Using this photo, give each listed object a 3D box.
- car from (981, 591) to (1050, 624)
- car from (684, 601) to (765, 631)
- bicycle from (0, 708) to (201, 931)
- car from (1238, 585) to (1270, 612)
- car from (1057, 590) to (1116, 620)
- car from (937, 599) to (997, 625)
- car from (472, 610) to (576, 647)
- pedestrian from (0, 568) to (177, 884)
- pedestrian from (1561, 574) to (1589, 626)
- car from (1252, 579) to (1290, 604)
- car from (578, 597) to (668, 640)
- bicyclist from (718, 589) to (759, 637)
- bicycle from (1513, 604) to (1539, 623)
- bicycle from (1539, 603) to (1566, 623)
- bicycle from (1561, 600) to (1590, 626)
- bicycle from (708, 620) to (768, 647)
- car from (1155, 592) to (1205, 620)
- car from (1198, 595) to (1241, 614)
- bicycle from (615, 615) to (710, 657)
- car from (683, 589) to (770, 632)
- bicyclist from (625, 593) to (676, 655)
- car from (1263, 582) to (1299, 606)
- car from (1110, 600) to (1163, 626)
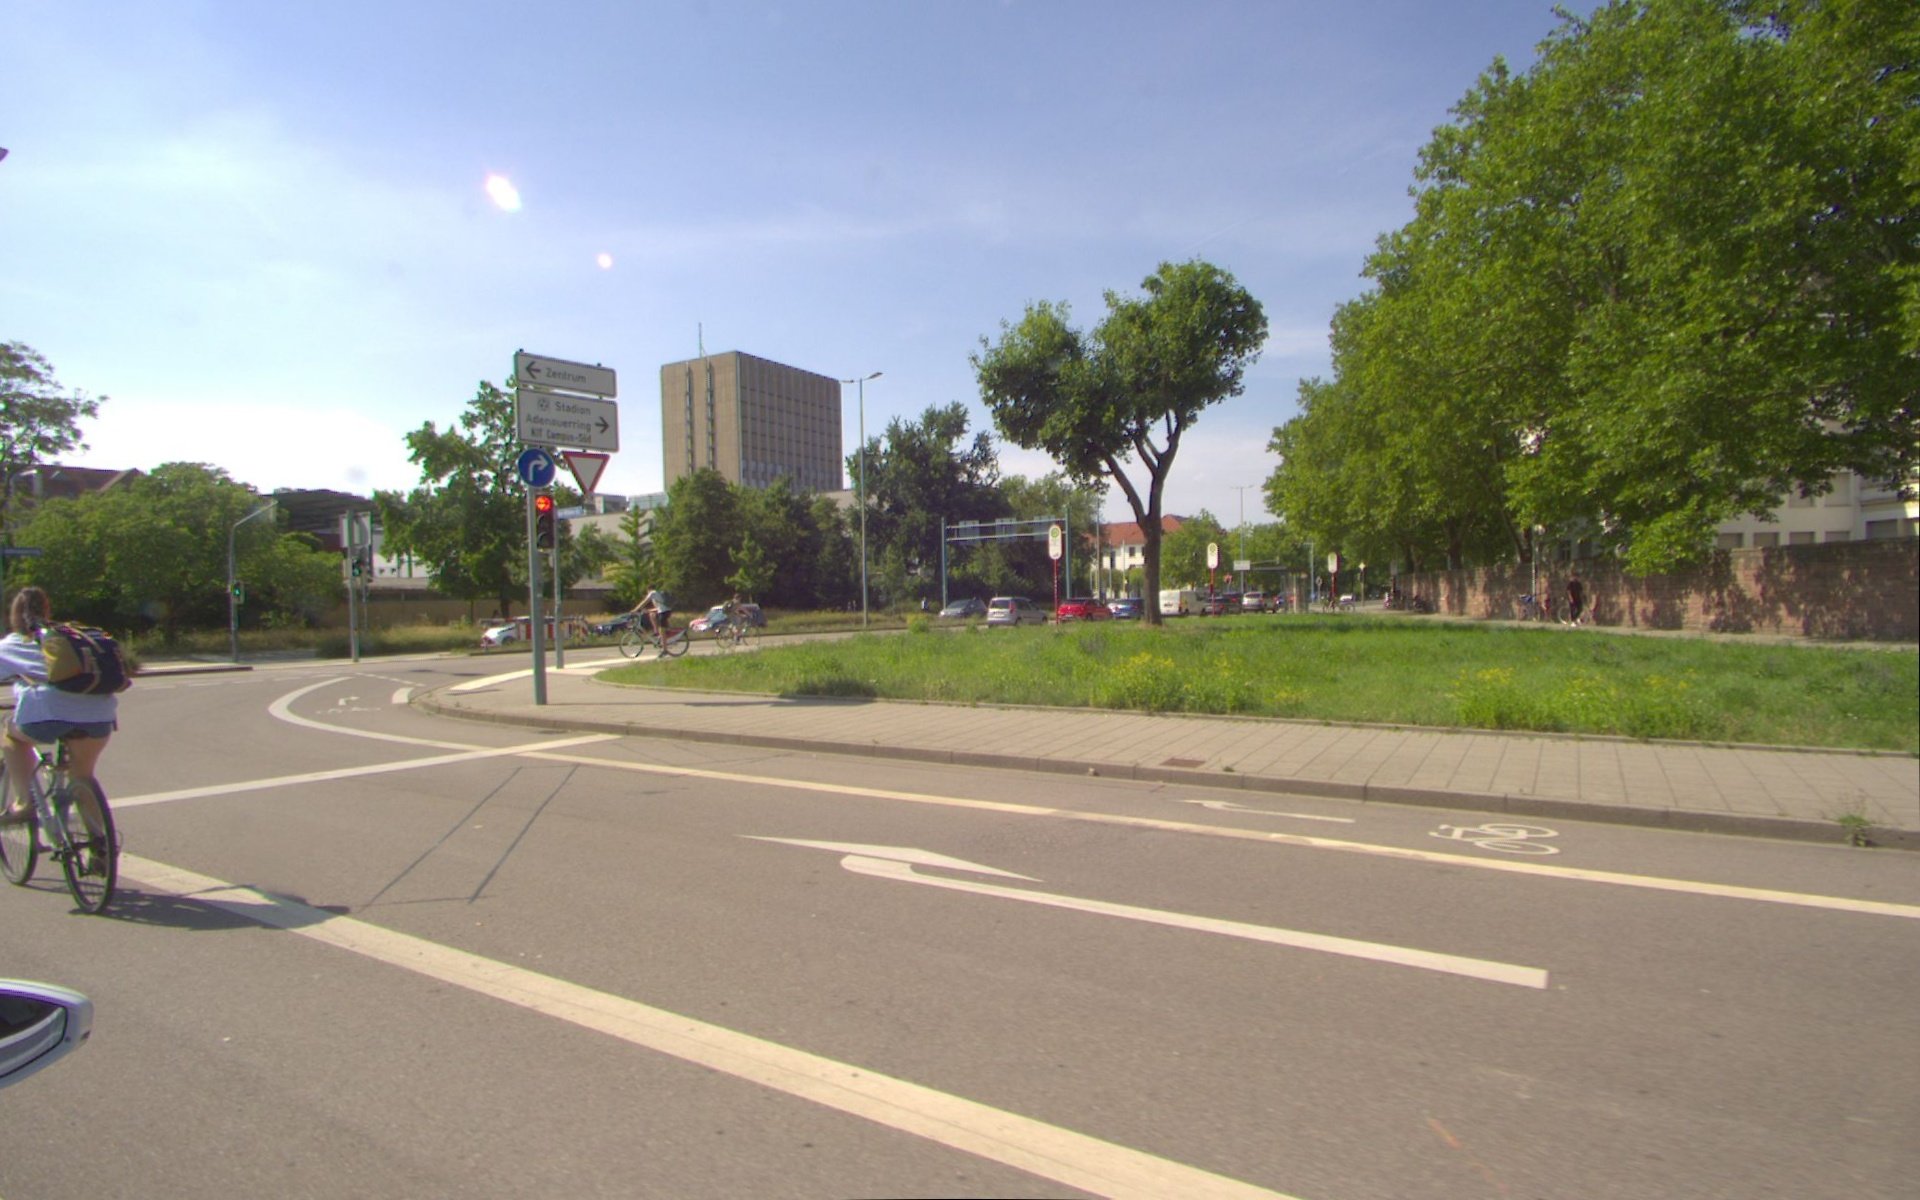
[{"bbox_3d":[2.844,0.358,50.440,1.727,1.528,3.978,0,1,32],"label":"car"},{"bbox_3d":[-13.141,0.866,56.094,1.882,1.590,4.300,0,1,32],"label":"car"},{"bbox_3d":[-4.935,1.097,5.383,1.997,0.943,0.596,-2,-1,29],"label":"bicycle"},{"bbox_3d":[23.741,-0.143,80.709,1.967,2.041,3.987,-1,1,24],"label":"car"},{"bbox_3d":[7.103,0.323,55.951,1.727,1.527,3.981,0,-2,32],"label":"car"},{"bbox_3d":[0.483,0.723,62.625,1.619,1.425,4.080,-3,-1,37],"label":"car"},{"bbox_3d":[-20.041,1.296,46.174,1.972,1.483,3.978,-2,0,32],"label":"car"},{"bbox_3d":[-4.674,0.605,5.204,0.998,1.485,0.583,-1,0,27],"label":"pedestrian"},{"bbox_3d":[21.483,-0.006,34.973,0.608,1.763,0.599,-1,1,3],"label":"pedestrian"},{"bbox_3d":[26.435,-0.703,85.043,1.972,2.041,3.976,-1,1,34],"label":"car"},{"bbox_3d":[-17.141,0.904,51.097,1.973,2.041,3.975,0,1,34],"label":"car"},{"bbox_3d":[-7.139,0.403,32.242,0.558,1.494,1.158,0,2,44],"label":"bicyclist"},{"bbox_3d":[22.179,0.522,39.265,0.334,0.738,1.364,-1,1,5],"label":"bicycle"},{"bbox_3d":[22.229,0.486,37.579,0.334,0.738,1.364,-1,1,5],"label":"bicycle"},{"bbox_3d":[22.083,0.460,35.949,0.365,0.867,1.307,-1,1,7],"label":"bicycle"},{"bbox_3d":[-7.143,1.073,32.247,0.554,0.803,1.878,2,2,44],"label":"bicycle"},{"bbox_3d":[14.825,0.361,67.367,1.729,1.781,4.403,0,1,36],"label":"car"},{"bbox_3d":[18.999,0.320,73.192,1.729,1.357,3.973,0,1,36],"label":"car"},{"bbox_3d":[-7.244,0.870,24.472,2.128,0.928,0.674,-1,1,-11],"label":"bicycle"},{"bbox_3d":[-11.965,0.524,51.468,1.976,2.040,3.971,-3,-1,37],"label":"car"},{"bbox_3d":[-7.529,0.586,24.363,1.121,1.489,0.496,-1,-1,-11],"label":"bicyclist"},{"bbox_3d":[28.235,-0.549,87.965,1.972,2.041,3.976,-1,1,34],"label":"car"},{"bbox_3d":[10.958,0.798,61.995,1.729,1.494,3.973,0,1,36],"label":"car"}]
